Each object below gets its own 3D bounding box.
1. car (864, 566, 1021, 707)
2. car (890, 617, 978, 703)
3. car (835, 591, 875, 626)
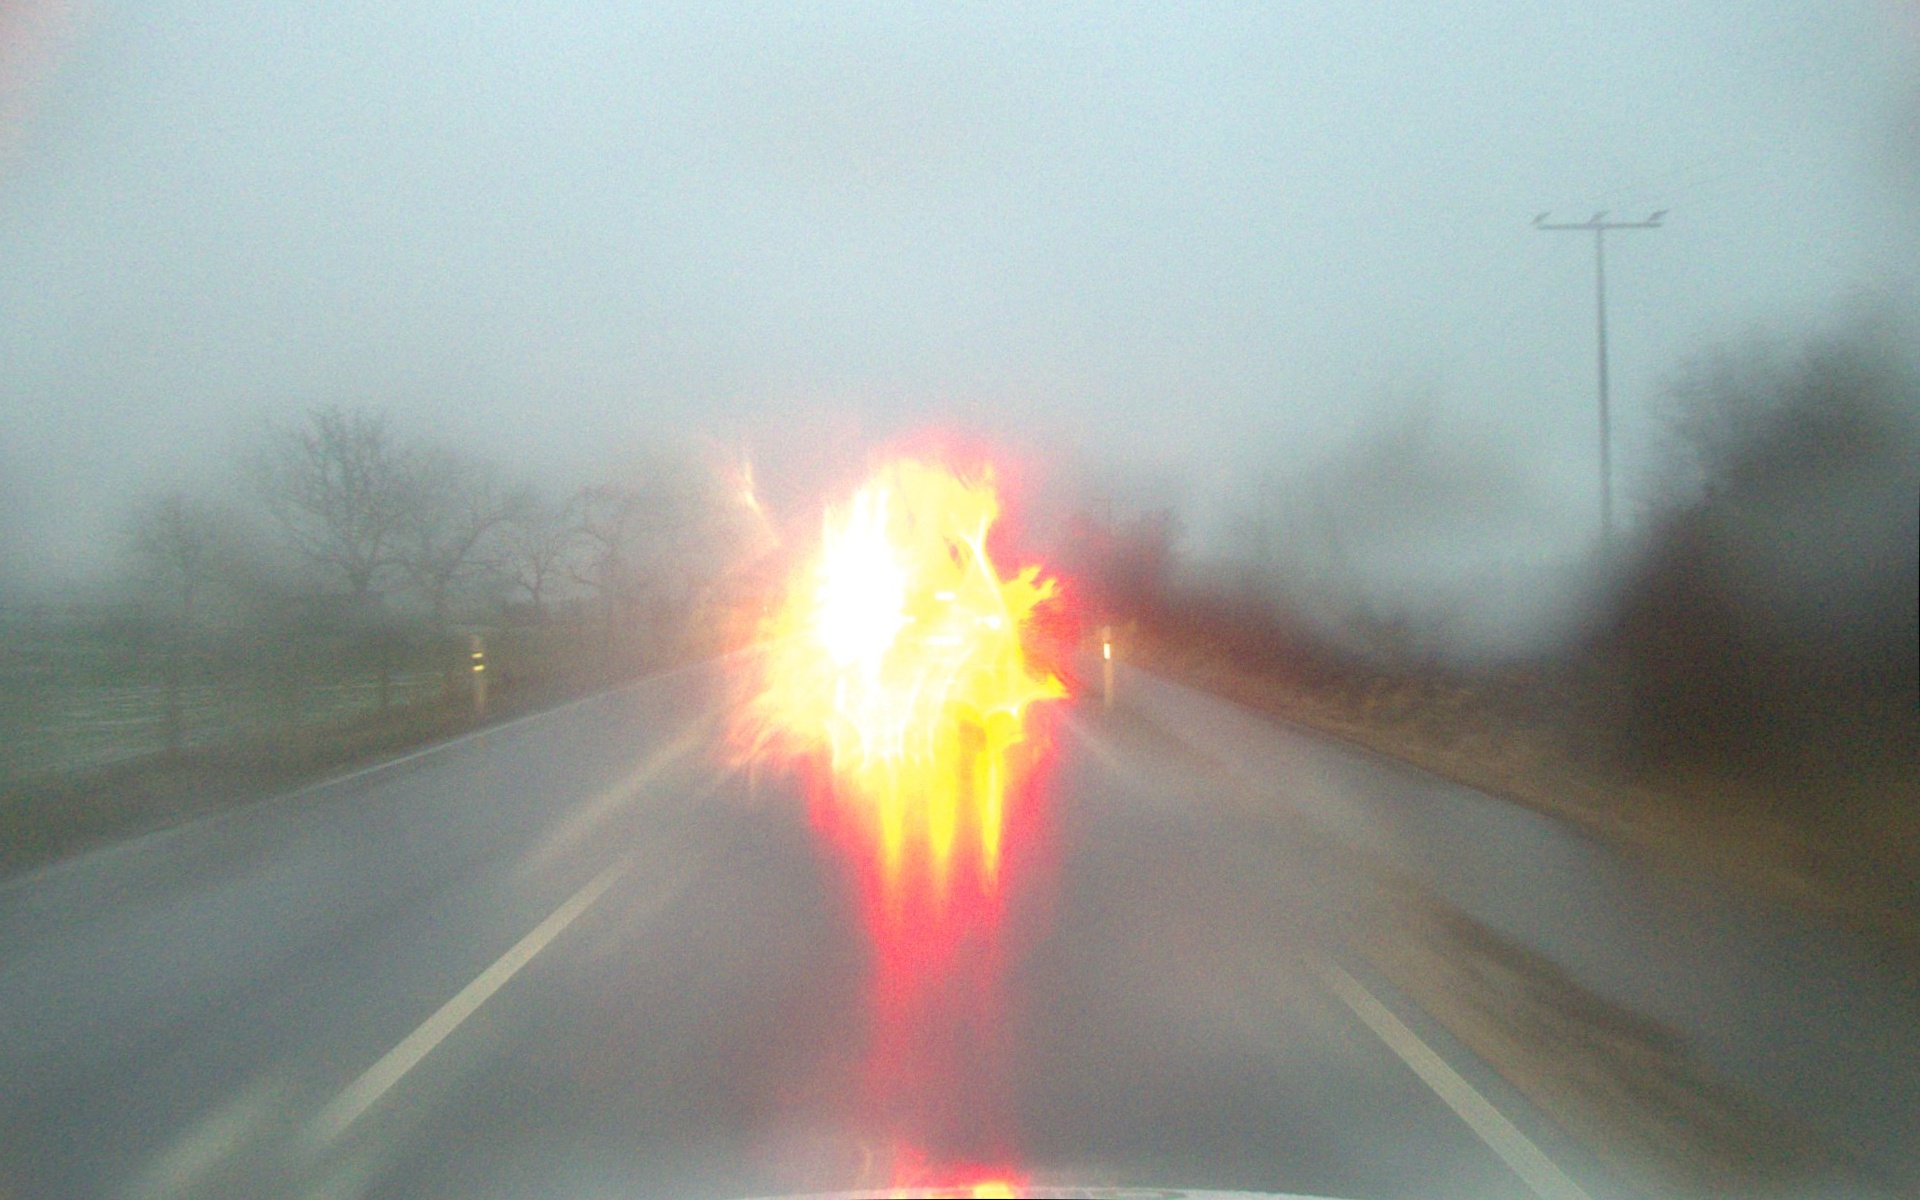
[{"bbox_3d":[-0.267,0.474,24.405,2.077,1.852,4.979,0,0,-1],"label":"car"},{"bbox_3d":[-0.608,1.372,39.233,1.953,1.881,3.999,1,0,-1],"label":"car"},{"bbox_3d":[-4.963,0.376,78.487,1.818,1.543,4.513,-2,0,-3],"label":"car"}]
